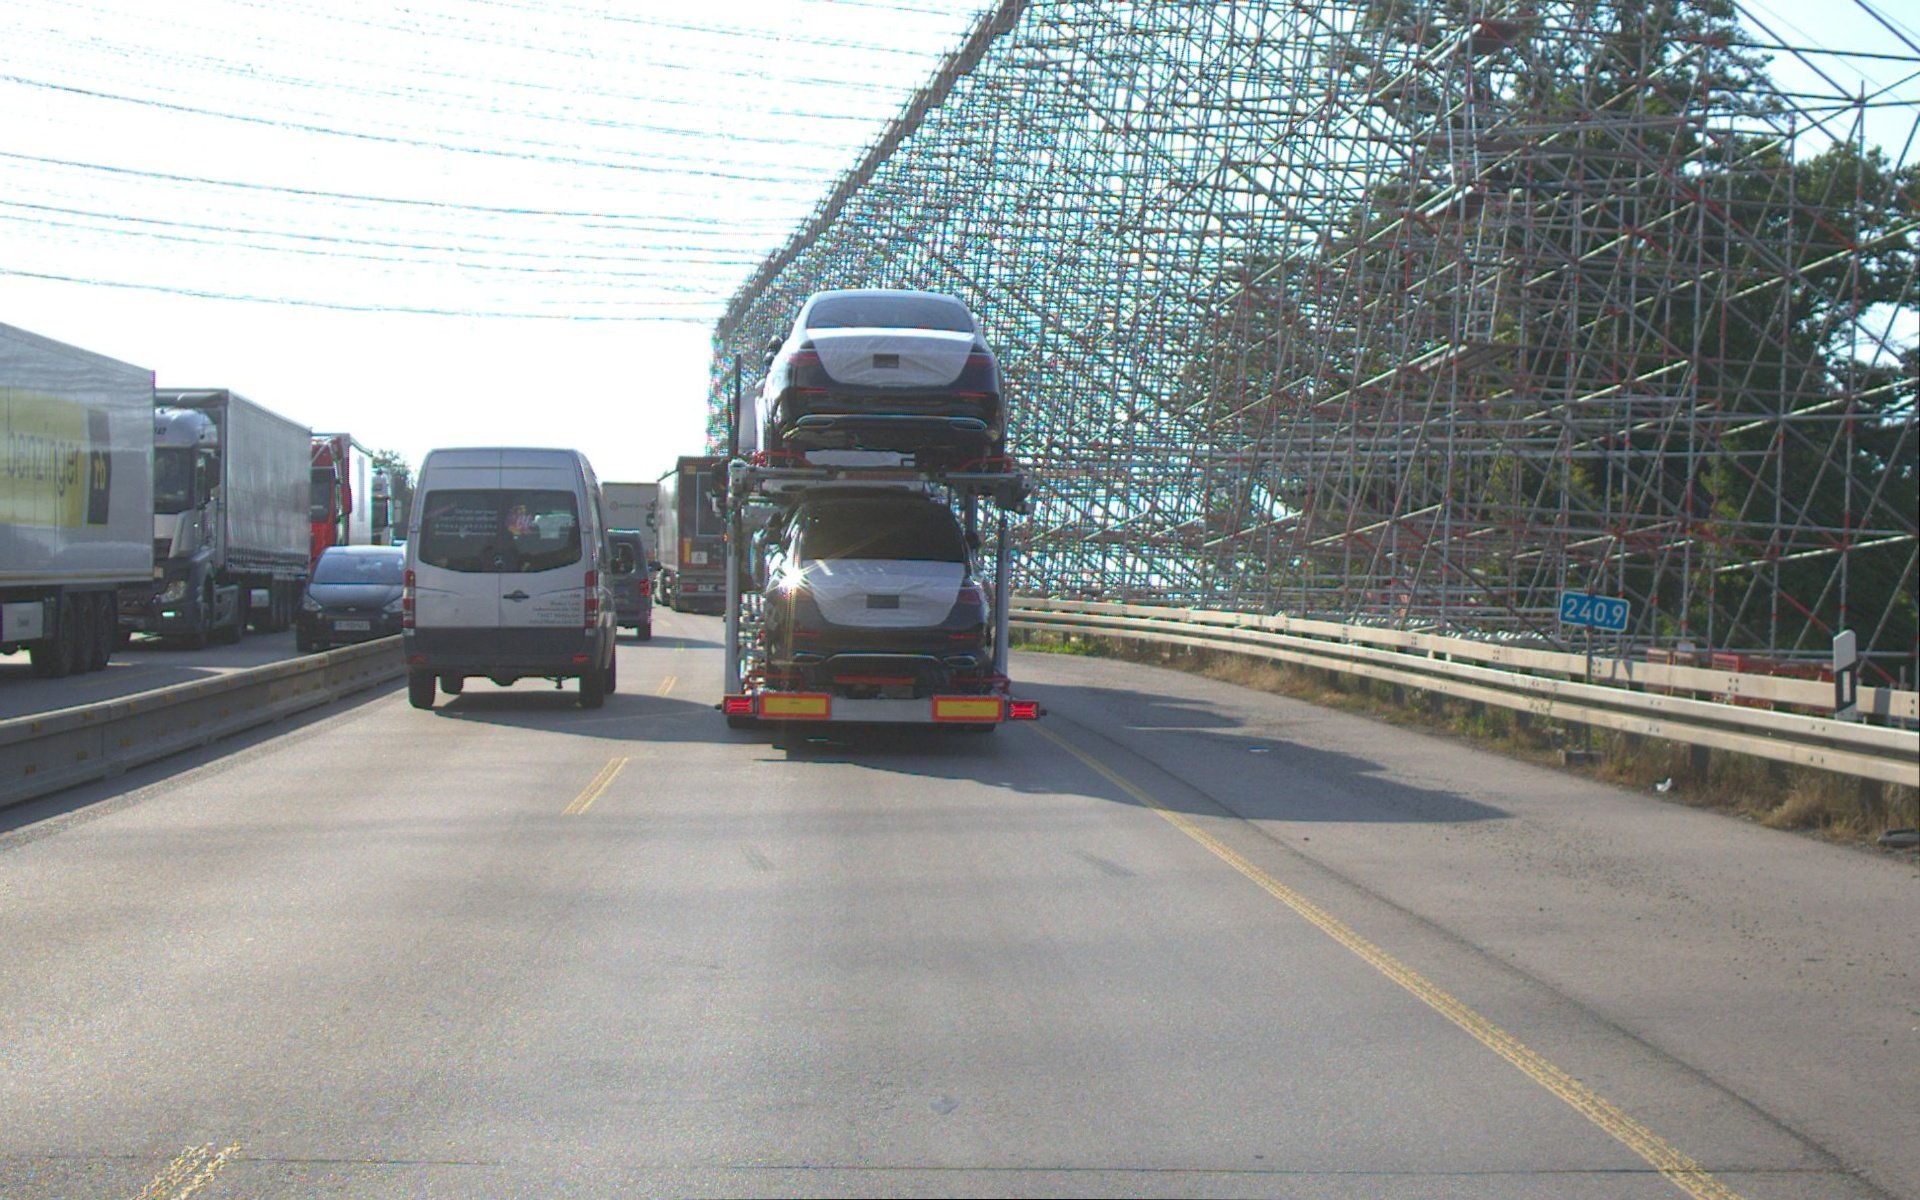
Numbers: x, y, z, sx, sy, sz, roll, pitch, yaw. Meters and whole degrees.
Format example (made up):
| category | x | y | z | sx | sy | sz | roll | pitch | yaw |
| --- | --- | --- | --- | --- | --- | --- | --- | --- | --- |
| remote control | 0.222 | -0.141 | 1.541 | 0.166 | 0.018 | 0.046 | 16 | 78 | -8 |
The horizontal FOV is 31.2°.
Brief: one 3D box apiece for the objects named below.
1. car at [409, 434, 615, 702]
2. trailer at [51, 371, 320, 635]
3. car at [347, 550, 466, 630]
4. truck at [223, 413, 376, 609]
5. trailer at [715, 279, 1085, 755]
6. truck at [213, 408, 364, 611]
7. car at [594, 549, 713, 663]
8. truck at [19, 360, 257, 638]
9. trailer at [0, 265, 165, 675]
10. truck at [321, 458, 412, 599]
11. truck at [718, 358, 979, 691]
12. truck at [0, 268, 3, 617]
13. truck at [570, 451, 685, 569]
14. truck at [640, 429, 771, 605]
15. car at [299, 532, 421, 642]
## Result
| category | x | y | z | sx | sy | sz | roll | pitch | yaw |
| --- | --- | --- | --- | --- | --- | --- | --- | --- | --- |
| car | -4.572 | -0.322 | 35.591 | 1.956 | 2.612 | 4.001 | 0 | 0 | -5 |
| trailer | -13.496 | -1.600 | 61.135 | 2.798 | 4.127 | 13.969 | 1 | 1 | -5 |
| car | -10.303 | -0.211 | 64.238 | 1.731 | 1.373 | 4.892 | 2 | 1 | -4 |
| truck | -15.230 | -1.970 | 80.079 | 2.786 | 4.127 | 13.811 | 1 | 1 | -8 |
| trailer | -0.959 | -0.727 | 34.490 | 2.868 | 3.712 | 14.949 | 1 | 1 | -4 |
| truck | -14.309 | -1.884 | 73.662 | 2.786 | 4.127 | 6.681 | 1 | 1 | -8 |
| car | -5.696 | 0.089 | 63.507 | 1.993 | 2.007 | 4.001 | 1 | 0 | -7 |
| truck | -12.910 | -1.534 | 54.416 | 2.787 | 4.127 | 5.935 | 1 | 1 | -5 |
| trailer | -11.799 | -1.425 | 40.074 | 2.765 | 4.319 | 13.883 | 1 | 1 | -4 |
| truck | -18.479 | -2.207 | 106.942 | 2.661 | 4.215 | 6.106 | 1 | 1 | -10 |
| truck | -1.439 | -0.883 | 42.133 | 2.881 | 3.690 | 7.326 | 1 | 1 | -3 |
| truck | -11.324 | -1.344 | 33.401 | 2.744 | 4.285 | 5.935 | 1 | 1 | -4 |
| truck | -12.679 | -3.438 | 132.410 | 3.686 | 4.206 | 13.671 | -2 | 1 | -3 |
| truck | -6.962 | -2.227 | 92.631 | 2.731 | 4.370 | 11.524 | 2 | 1 | -8 |
| car | -9.483 | -0.243 | 54.630 | 1.752 | 1.652 | 4.864 | 0 | 1 | -8 |
